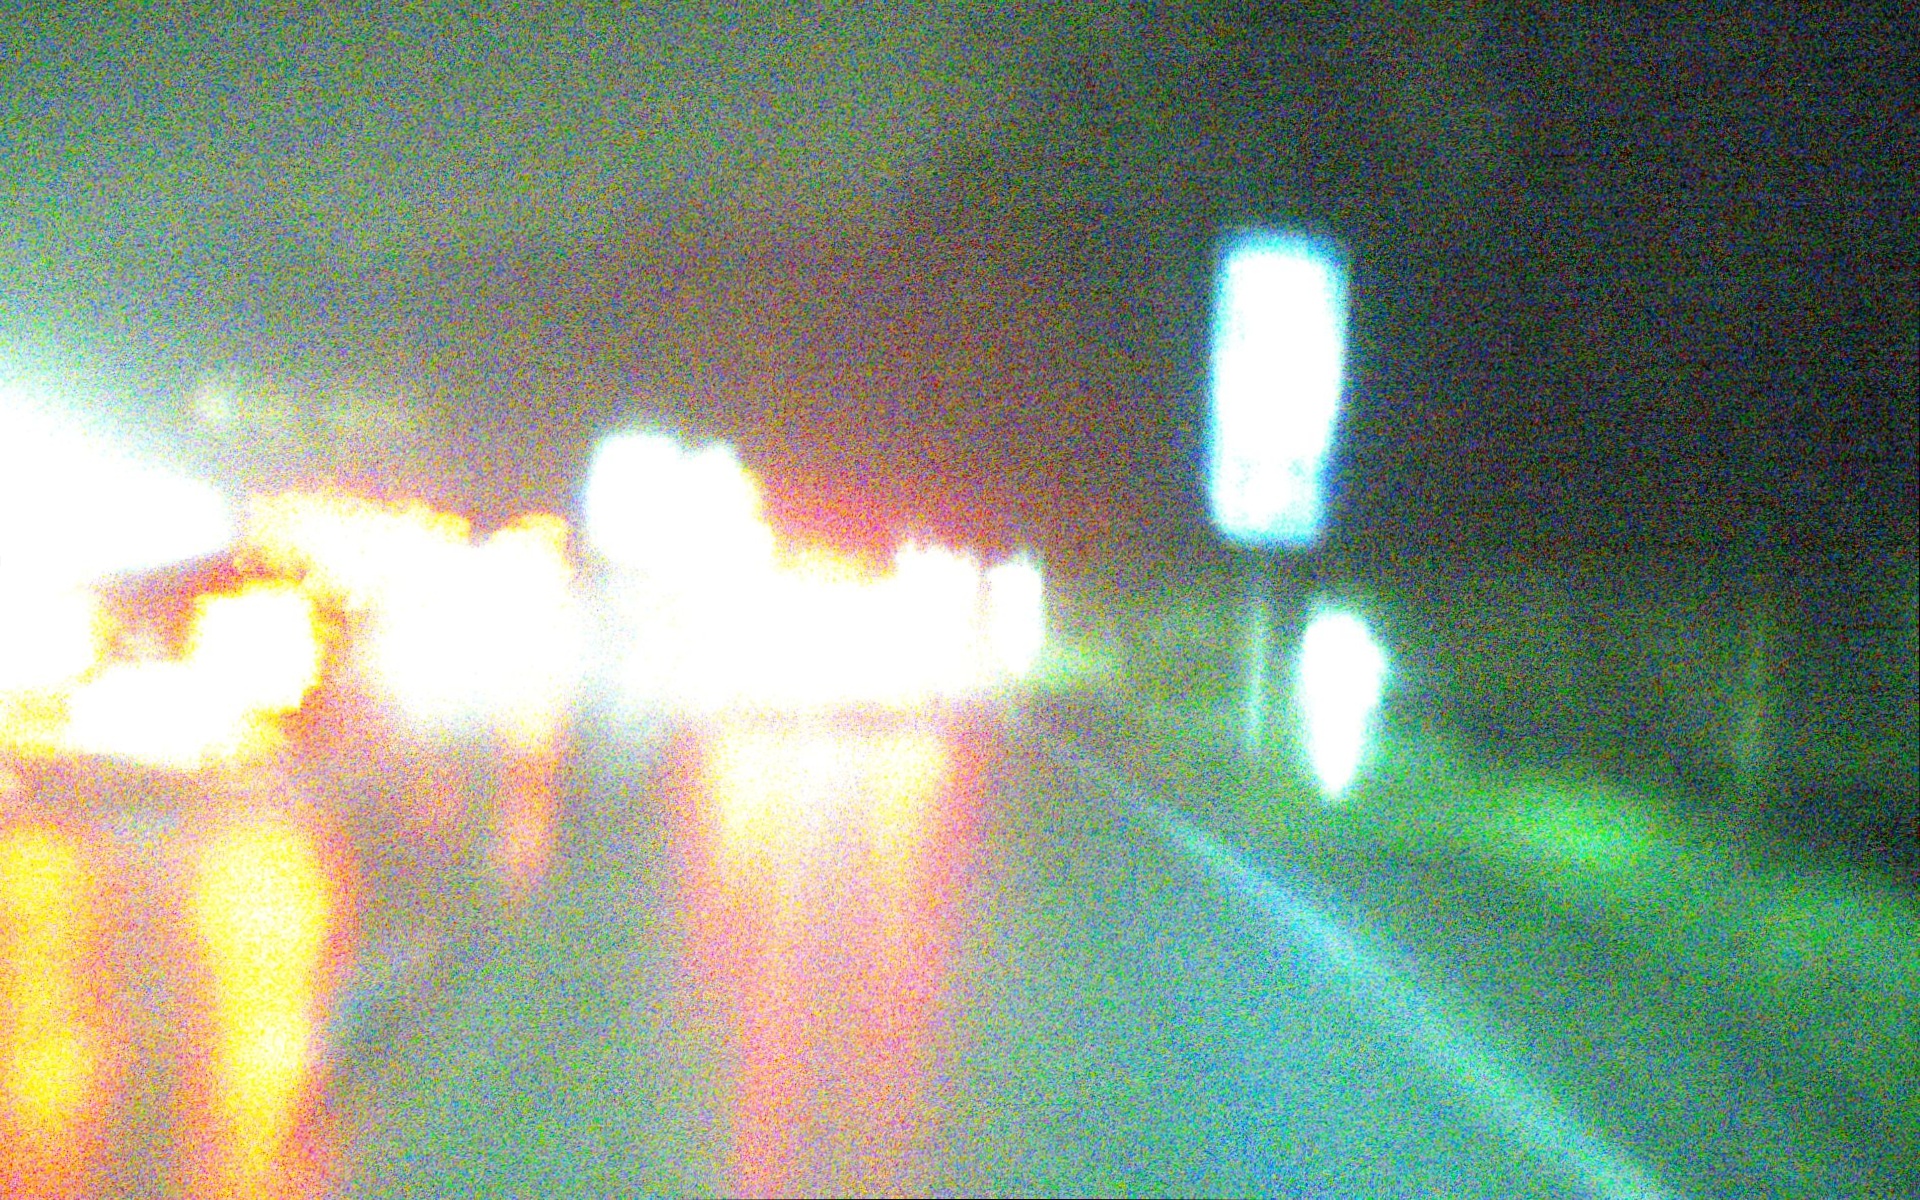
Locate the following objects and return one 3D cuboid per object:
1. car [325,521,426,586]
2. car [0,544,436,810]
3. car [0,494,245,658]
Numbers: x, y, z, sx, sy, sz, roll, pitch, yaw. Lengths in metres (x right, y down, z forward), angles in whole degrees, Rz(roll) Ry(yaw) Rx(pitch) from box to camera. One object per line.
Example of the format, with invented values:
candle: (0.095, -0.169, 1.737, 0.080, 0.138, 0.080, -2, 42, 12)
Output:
car: (-14.590, -1.156, 85.942, 1.892, 1.545, 4.000, 1, 0, -1)
car: (-4.402, 0.397, 20.509, 1.962, 1.376, 4.049, 2, 0, -1)
car: (-8.631, -0.278, 34.711, 1.768, 1.512, 4.915, 1, 1, 0)
